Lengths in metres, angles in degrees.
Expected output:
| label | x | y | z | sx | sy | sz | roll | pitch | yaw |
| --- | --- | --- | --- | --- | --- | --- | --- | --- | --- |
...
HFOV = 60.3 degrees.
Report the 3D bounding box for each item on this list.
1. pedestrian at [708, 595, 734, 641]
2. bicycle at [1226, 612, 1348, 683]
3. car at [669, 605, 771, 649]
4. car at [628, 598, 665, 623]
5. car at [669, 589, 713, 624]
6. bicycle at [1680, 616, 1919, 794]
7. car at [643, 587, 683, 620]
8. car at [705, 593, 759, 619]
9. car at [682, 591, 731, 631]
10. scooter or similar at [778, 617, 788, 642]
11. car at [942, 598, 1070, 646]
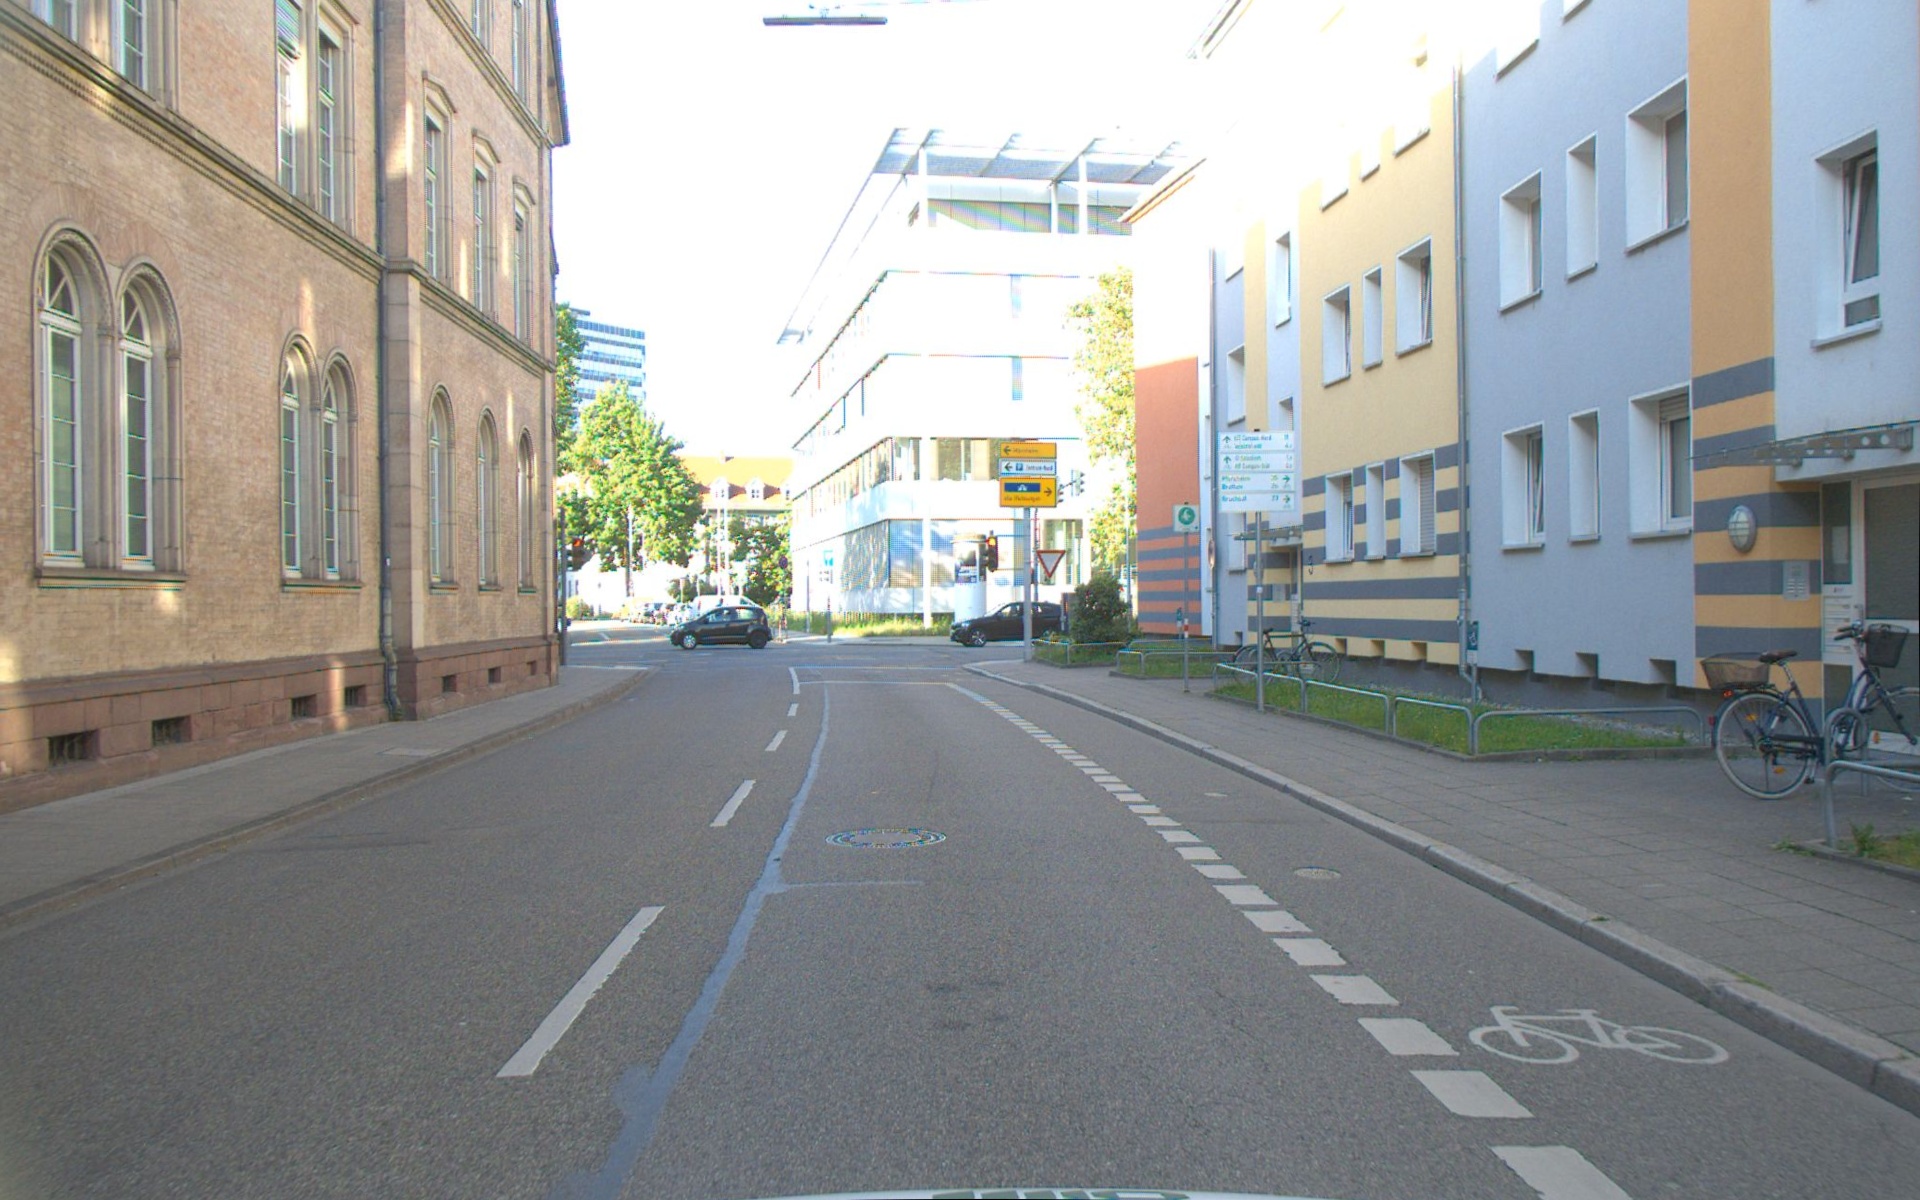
| label | x | y | z | sx | sy | sz | roll | pitch | yaw |
| --- | --- | --- | --- | --- | --- | --- | --- | --- | --- |
| pedestrian | -9.637 | 0.726 | 66.713 | 0.911 | 1.790 | 0.844 | 1 | -1 | -14 |
| bicycle | 5.036 | 0.727 | 25.520 | 1.720 | 1.021 | 0.612 | -2 | -1 | -6 |
| car | -8.368 | 0.925 | 57.575 | 3.371 | 1.471 | 1.768 | 0 | -1 | -14 |
| car | -23.510 | 0.784 | 123.944 | 2.291 | 1.764 | 4.985 | 1 | -1 | -15 |
| car | -17.152 | 0.445 | 105.306 | 2.291 | 2.149 | 4.985 | 1 | -1 | -15 |
| bicycle | 5.984 | 0.706 | 11.425 | 1.774 | 1.157 | 0.551 | -1 | -1 | -3 |
| car | -20.570 | 0.264 | 114.265 | 2.291 | 2.149 | 4.985 | 1 | -1 | -15 |
| car | -18.132 | 0.462 | 131.460 | 3.934 | 1.949 | 1.905 | 1 | -1 | -24 |
| car | -14.389 | 0.633 | 93.668 | 2.382 | 2.149 | 5.214 | 1 | -1 | -13 |
| scooter or similar | -8.074 | 1.345 | 75.549 | 0.319 | 1.078 | 1.139 | -1 | 0 | -12 |
| car | 1.655 | 0.775 | 59.806 | 4.290 | 1.662 | 1.994 | -1 | 0 | -13 |
